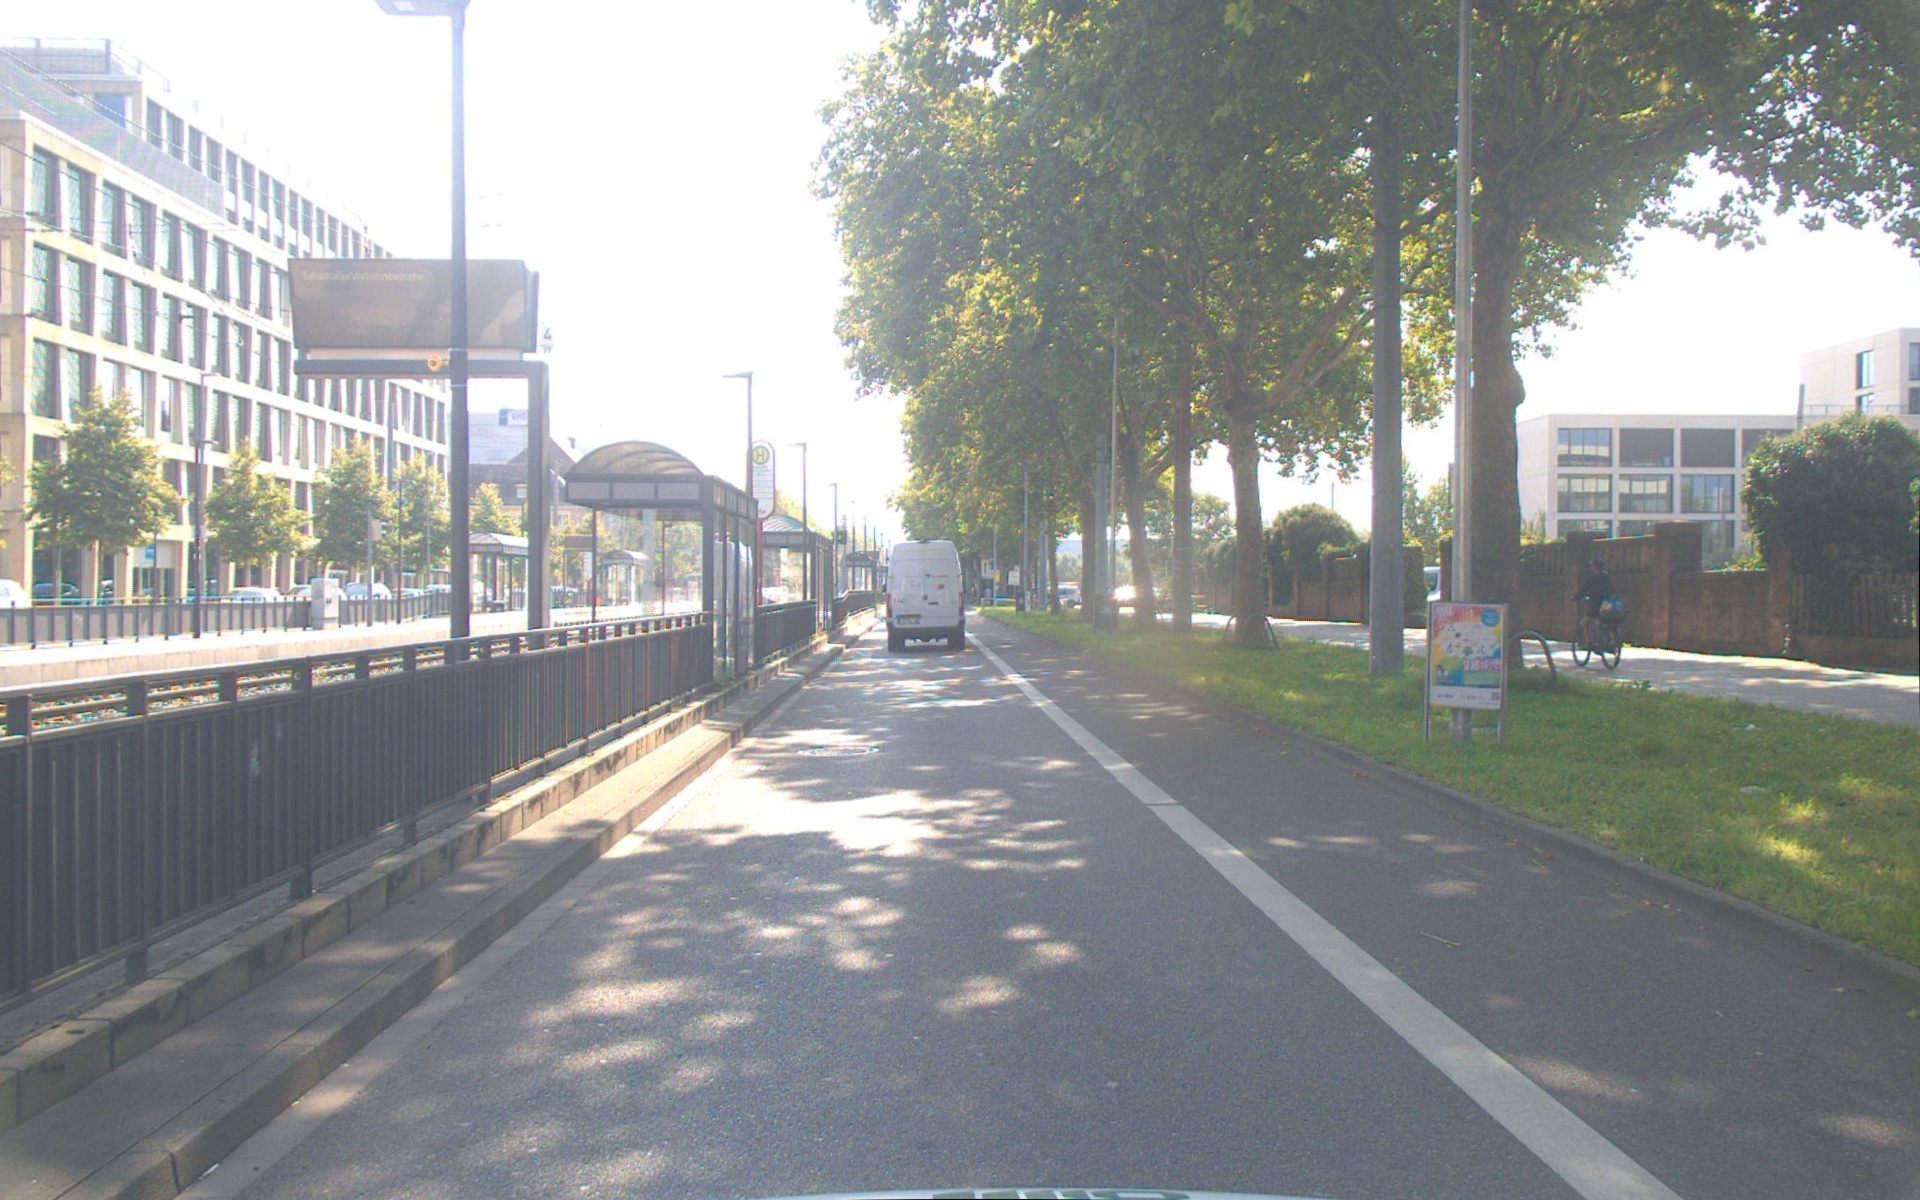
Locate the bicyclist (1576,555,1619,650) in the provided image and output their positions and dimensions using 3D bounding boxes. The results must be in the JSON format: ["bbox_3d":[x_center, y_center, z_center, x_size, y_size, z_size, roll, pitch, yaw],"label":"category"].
[{"bbox_3d":[10.640,0.032,27.618,0.460,1.566,0.596,0,0,-5],"label":"bicyclist"}]

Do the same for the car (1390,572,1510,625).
[{"bbox_3d":[17.903,-0.055,60.508,3.923,1.875,1.560,0,0,-4],"label":"car"}]

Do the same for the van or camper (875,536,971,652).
[{"bbox_3d":[-1.012,-0.166,42.081,2.074,2.729,5.245,-1,0,-5],"label":"van or camper"}]

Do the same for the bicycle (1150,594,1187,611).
[{"bbox_3d":[11.124,0.156,88.127,1.893,0.861,0.372,-1,0,-2],"label":"bicycle"}]

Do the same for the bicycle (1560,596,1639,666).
[{"bbox_3d":[10.649,0.498,27.599,0.481,1.108,1.856,0,1,-4],"label":"bicycle"}]

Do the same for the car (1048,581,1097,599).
[{"bbox_3d":[9.379,-0.841,138.315,3.907,1.400,1.999,1,-1,-2],"label":"car"}]

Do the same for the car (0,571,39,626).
[{"bbox_3d":[-25.746,-0.027,42.680,1.650,1.432,4.368,-1,1,-3],"label":"car"}]

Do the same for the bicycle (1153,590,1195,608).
[{"bbox_3d":[11.037,-0.048,85.310,2.136,0.861,0.503,-1,0,-2],"label":"bicycle"}]

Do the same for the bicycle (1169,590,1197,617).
[{"bbox_3d":[8.581,0.118,63.692,0.668,1.022,2.217,-1,0,-3],"label":"bicycle"}]
